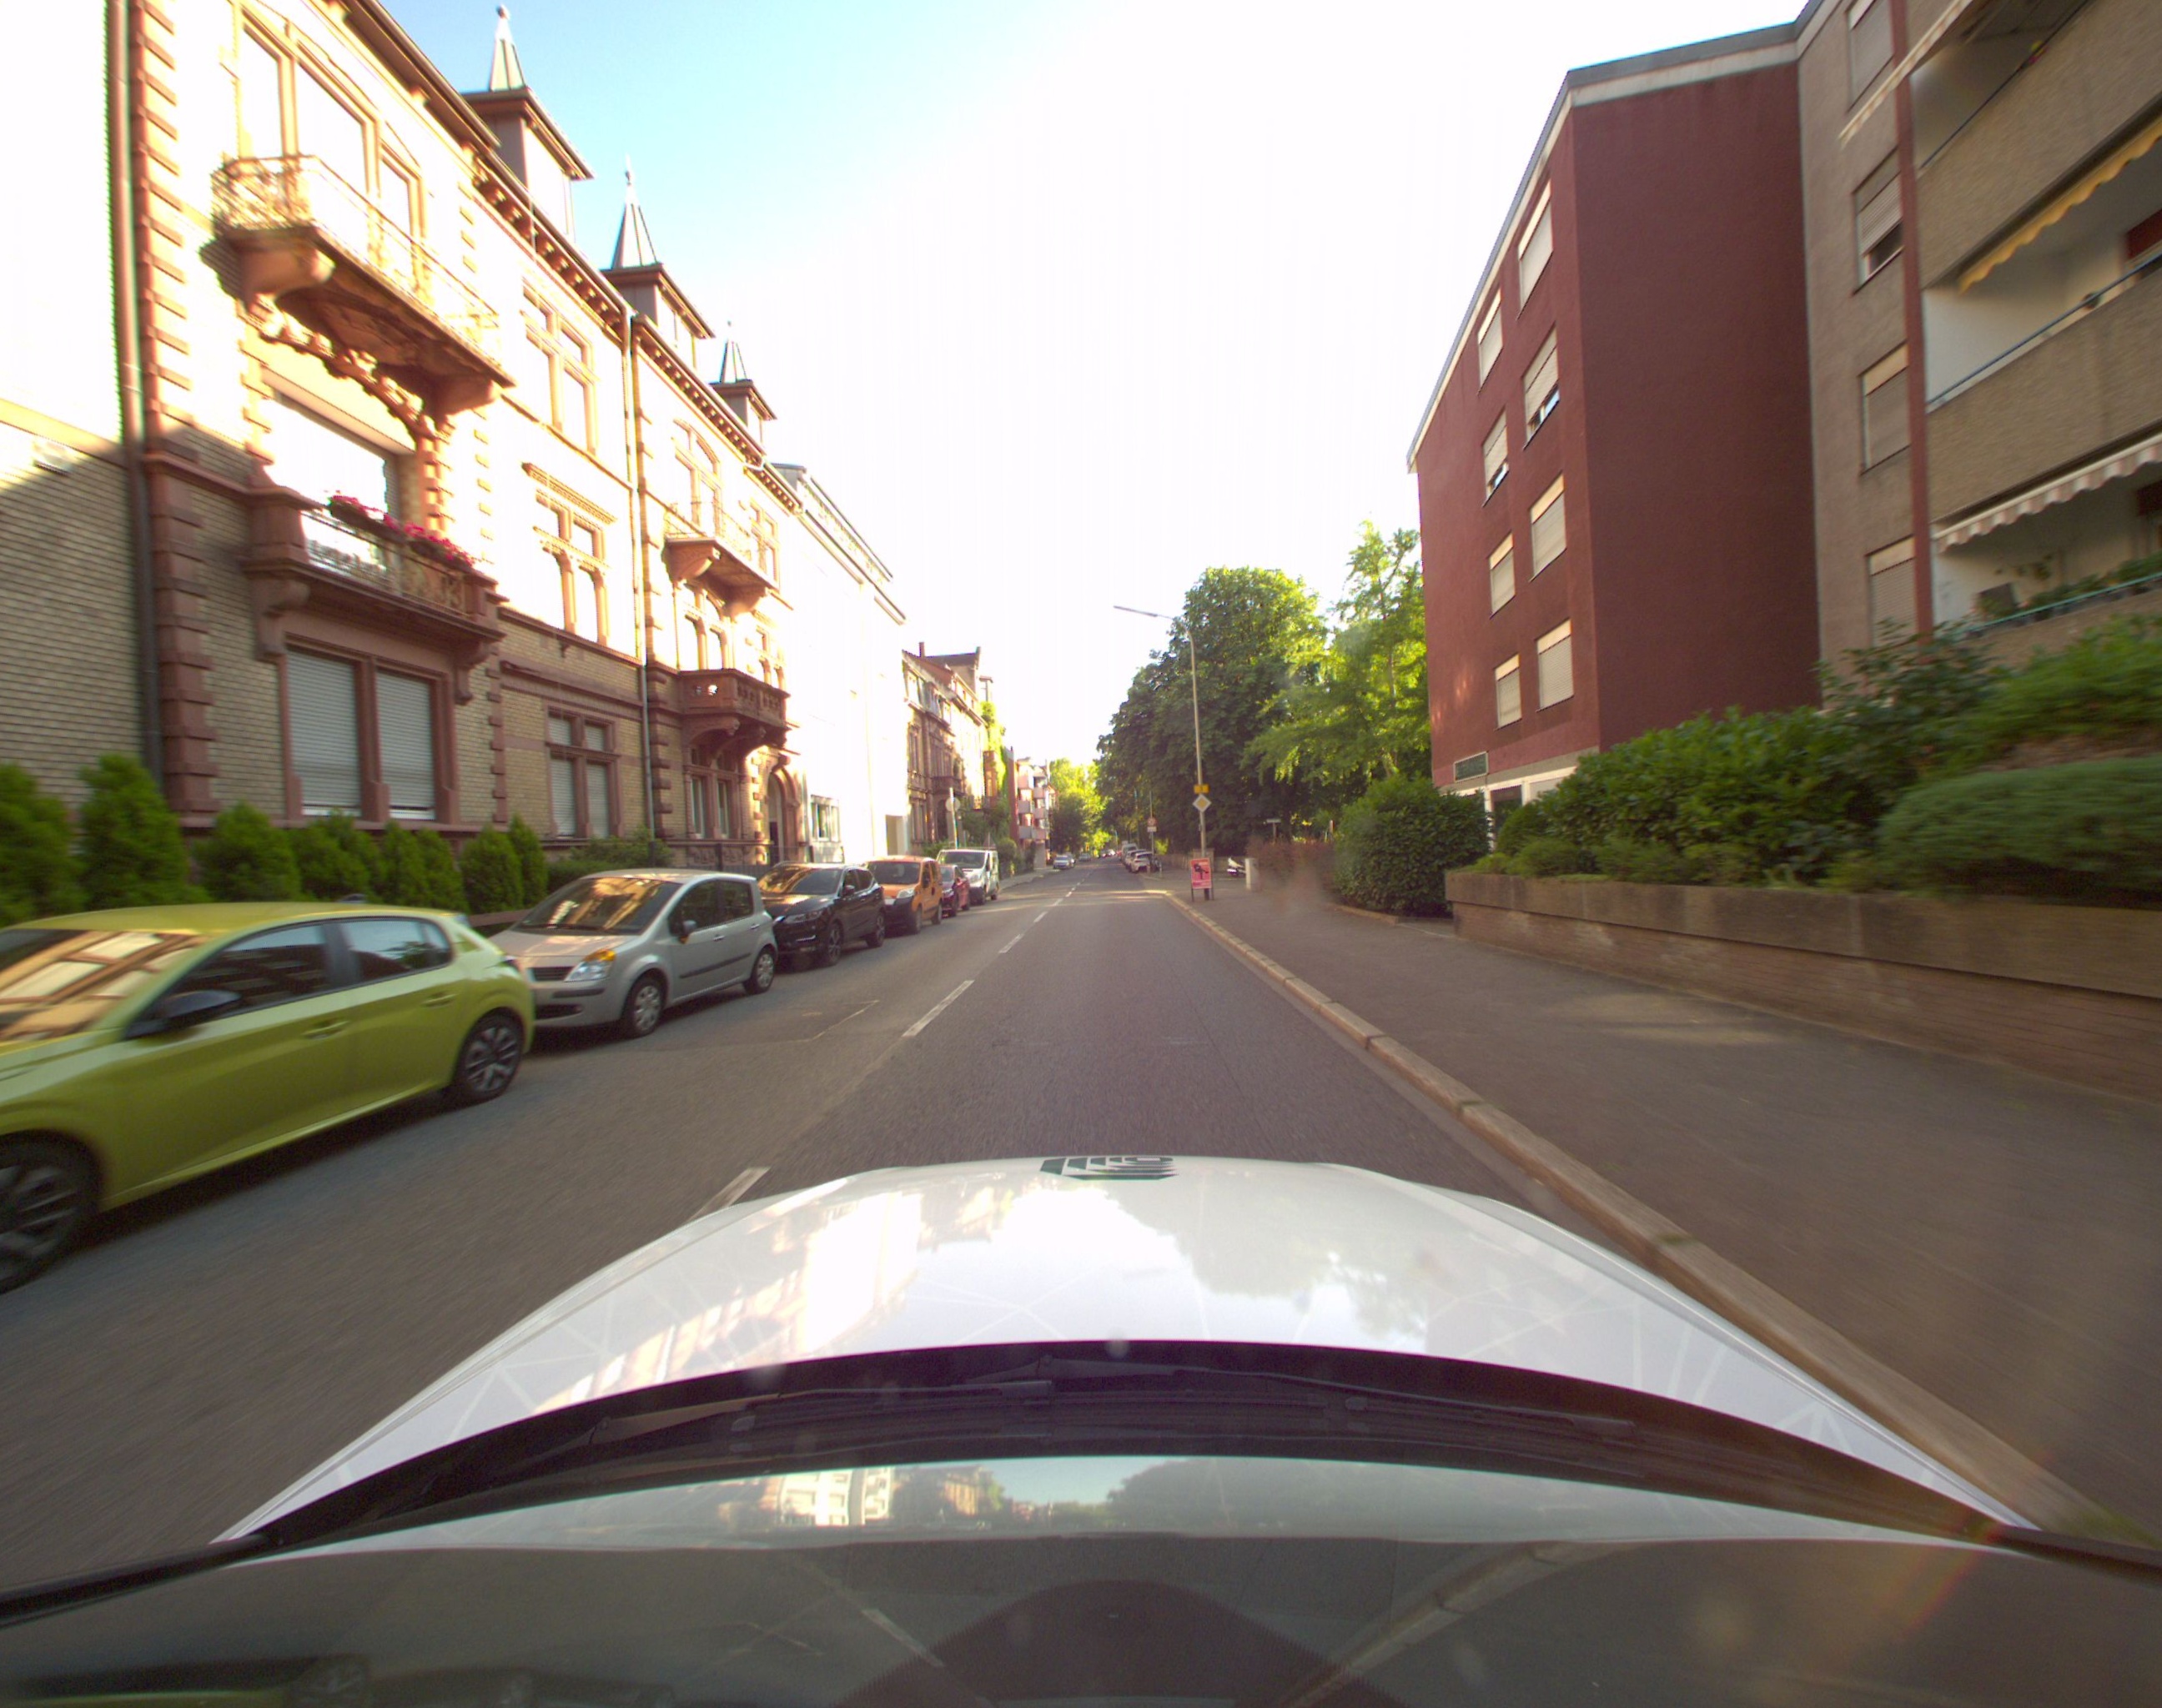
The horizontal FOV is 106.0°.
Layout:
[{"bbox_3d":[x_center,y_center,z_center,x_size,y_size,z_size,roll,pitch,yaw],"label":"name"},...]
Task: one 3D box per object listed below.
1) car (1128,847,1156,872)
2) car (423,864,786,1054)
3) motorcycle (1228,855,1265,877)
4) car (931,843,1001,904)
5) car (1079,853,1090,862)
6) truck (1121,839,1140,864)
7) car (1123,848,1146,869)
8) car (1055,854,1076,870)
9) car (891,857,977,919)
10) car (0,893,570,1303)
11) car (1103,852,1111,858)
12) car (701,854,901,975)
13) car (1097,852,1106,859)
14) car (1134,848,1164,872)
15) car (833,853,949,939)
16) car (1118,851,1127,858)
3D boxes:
[{"bbox_3d":[4.800,0.372,64.344,1.985,1.737,4.004,-3,1,3],"label":"car"},{"bbox_3d":[-4.896,0.959,9.048,1.695,1.584,3.638,-2,0,3],"label":"car"},{"bbox_3d":[8.994,0.655,44.321,1.897,1.112,0.791,-1,1,4],"label":"motorcycle"},{"bbox_3d":[-4.120,0.637,29.955,1.786,2.010,4.698,-2,0,1],"label":"car"},{"bbox_3d":[0.714,0.677,157.935,1.986,1.491,4.473,-3,1,2],"label":"car"},{"bbox_3d":[6.037,-0.383,99.952,1.986,2.896,4.472,-3,1,2],"label":"truck"},{"bbox_3d":[4.935,0.362,75.139,1.985,1.737,4.004,-3,1,3],"label":"car"},{"bbox_3d":[-1.739,0.896,91.309,1.986,1.491,4.473,-3,1,2],"label":"car"},{"bbox_3d":[-4.284,0.947,24.337,1.696,1.619,4.118,-2,0,1],"label":"car"},{"bbox_3d":[-5.044,1.056,4.506,1.695,1.503,4.075,-2,-1,3],"label":"car"},{"bbox_3d":[7.212,0.254,224.693,1.986,1.491,4.473,-3,1,2],"label":"car"},{"bbox_3d":[-4.605,0.894,14.172,1.695,1.707,4.444,-2,0,3],"label":"car"},{"bbox_3d":[4.820,0.351,194.943,1.986,1.491,4.473,-3,1,2],"label":"car"},{"bbox_3d":[4.884,0.415,58.703,1.985,1.517,4.004,-3,1,3],"label":"car"},{"bbox_3d":[-4.316,0.879,19.067,1.696,1.738,3.857,-2,0,1],"label":"car"},{"bbox_3d":[11.253,0.114,220.549,1.988,1.491,4.468,-3,1,-1],"label":"car"}]
